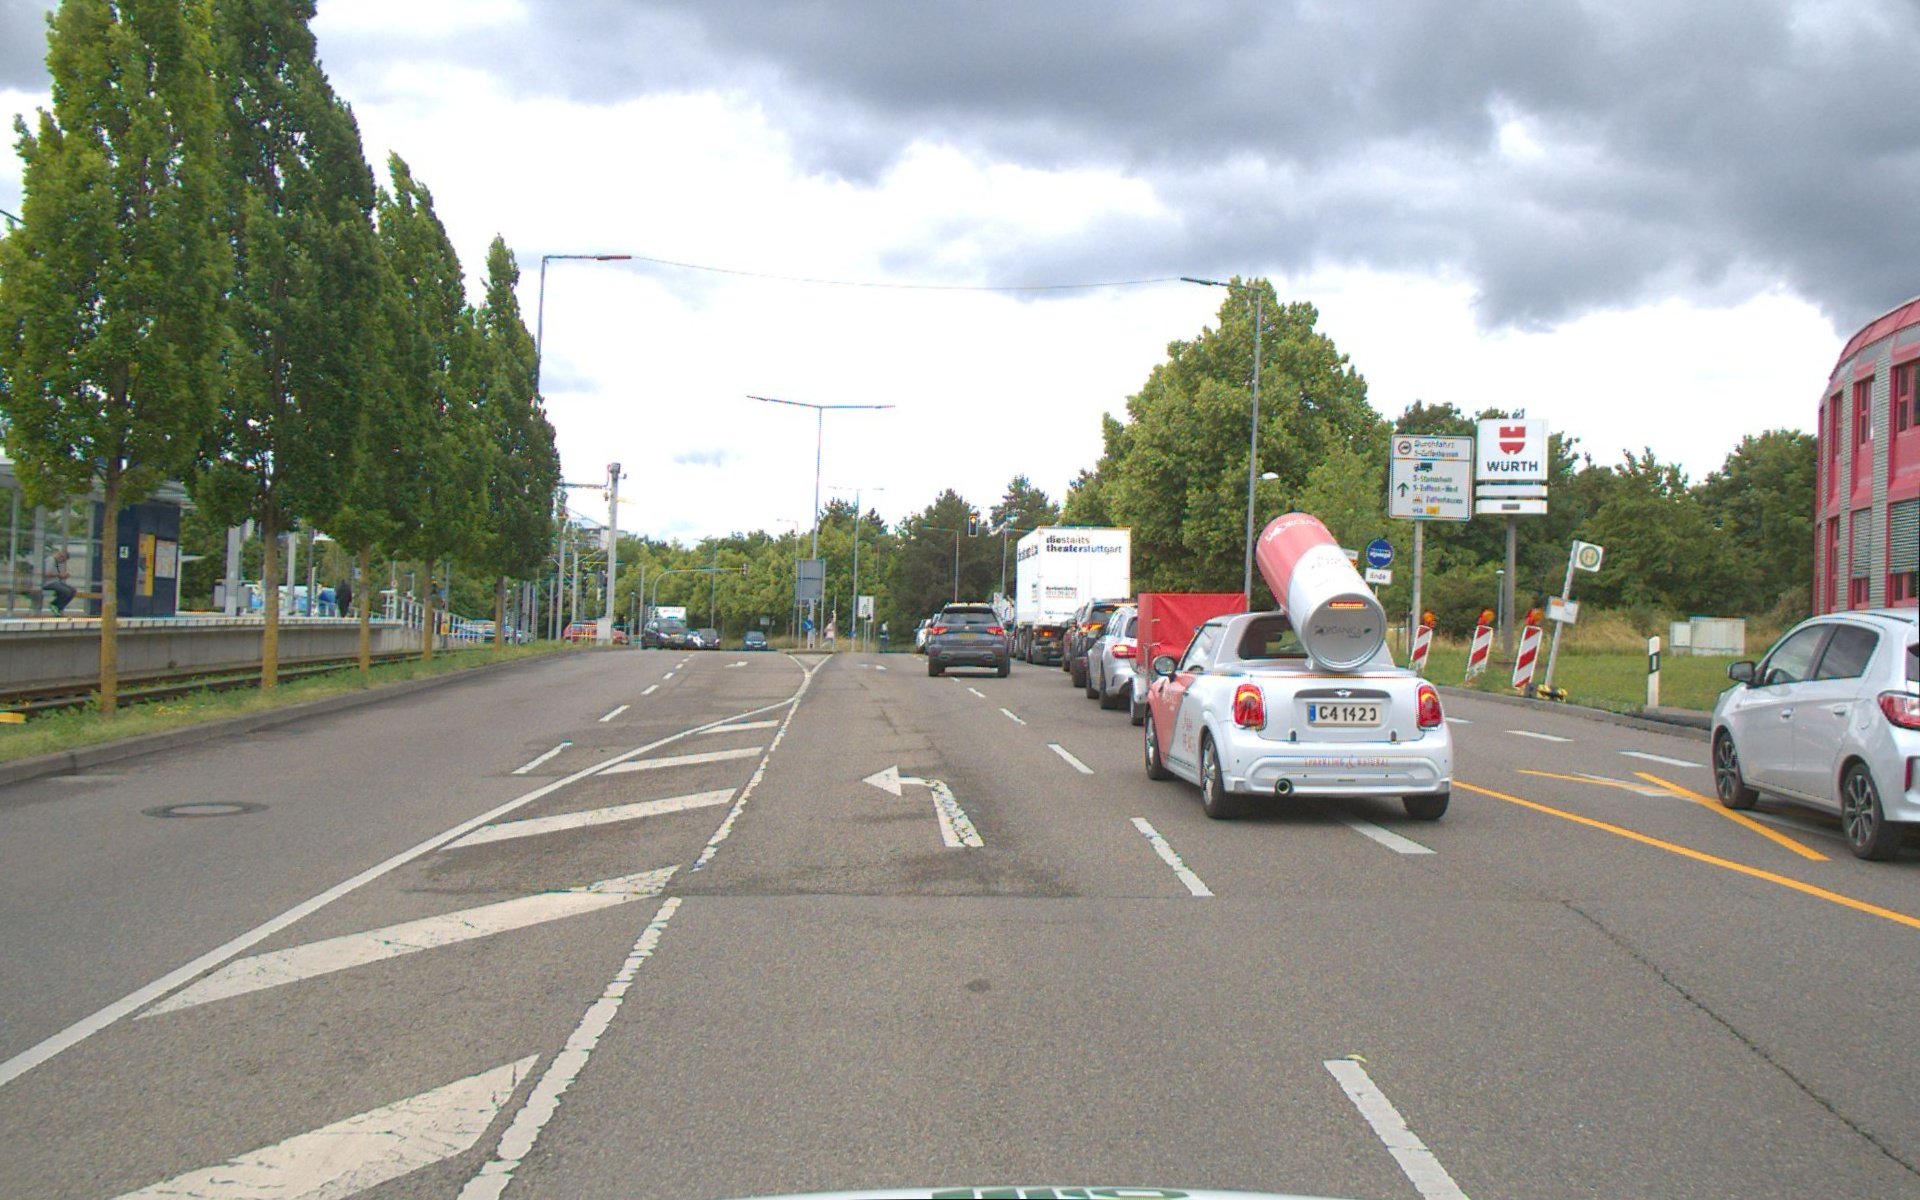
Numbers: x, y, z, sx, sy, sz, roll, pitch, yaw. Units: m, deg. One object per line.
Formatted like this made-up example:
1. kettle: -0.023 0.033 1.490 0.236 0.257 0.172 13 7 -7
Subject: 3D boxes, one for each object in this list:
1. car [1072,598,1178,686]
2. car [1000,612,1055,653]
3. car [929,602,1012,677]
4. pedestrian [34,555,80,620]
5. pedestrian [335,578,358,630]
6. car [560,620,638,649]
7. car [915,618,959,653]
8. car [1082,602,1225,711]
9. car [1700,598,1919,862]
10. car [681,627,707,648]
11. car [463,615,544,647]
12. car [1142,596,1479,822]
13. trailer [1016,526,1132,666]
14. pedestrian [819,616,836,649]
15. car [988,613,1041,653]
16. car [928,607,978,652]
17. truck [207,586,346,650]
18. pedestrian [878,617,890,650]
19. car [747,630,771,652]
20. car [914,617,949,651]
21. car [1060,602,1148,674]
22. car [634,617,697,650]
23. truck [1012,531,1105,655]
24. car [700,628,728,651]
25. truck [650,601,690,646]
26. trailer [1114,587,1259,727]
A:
1. car: 3.121 0.765 31.983 1.806 1.588 4.406 0 0 3
2. car: 2.411 1.148 59.814 1.775 1.378 4.117 0 0 -1
3. car: 0.172 0.808 35.988 1.664 1.512 3.999 0 0 -2
4. pedestrian: -18.199 -0.261 33.347 0.598 1.291 0.659 0 1 -8
5. pedestrian: -22.572 0.156 60.859 0.561 1.860 0.792 1 -2 -7
6. car: -19.794 1.878 90.684 3.994 1.514 1.706 1 -1 27
7. car: -1.008 1.517 70.378 1.687 1.447 4.353 1 -2 -3
8. car: 2.813 0.791 24.862 1.637 1.473 4.489 1 0 0
9. car: 6.347 0.759 11.039 1.588 1.483 3.691 1 0 8
10. car: -21.287 2.980 132.426 1.740 1.534 3.743 0 1 -5
11. car: -25.519 1.724 92.494 3.902 1.623 2.002 1 1 6
12. car: 2.537 0.739 12.827 1.684 1.483 3.694 1 0 -2
13. trailer: 3.210 -0.170 48.436 2.514 3.770 7.761 1 1 -2
14. pedestrian: -6.481 1.601 80.949 0.847 1.587 0.517 0 1 -5
15. car: 2.107 1.258 65.128 1.788 1.460 4.211 0 0 -2
16. car: -0.307 1.081 61.291 1.763 1.550 4.186 1 0 -1
17. truck: -40.577 1.036 98.294 7.090 3.661 2.692 1 1 0
18. pedestrian: -3.846 1.688 83.179 0.575 1.650 0.423 0 1 -5
19. car: -16.260 3.288 133.721 1.880 1.604 3.992 0 0 -9
20. car: -1.328 1.583 75.721 1.504 1.531 2.668 1 -2 -3
21. car: 3.288 0.857 38.491 1.672 1.551 4.319 1 -1 0
22. car: -14.832 1.664 83.164 1.711 1.601 3.661 2 -2 -35
23. truck: 3.064 -0.240 52.418 2.519 3.770 4.104 1 1 -2
24. car: -20.792 3.369 139.661 1.884 1.758 3.982 2 -4 -15
25. truck: -24.797 1.936 141.181 2.616 3.713 9.465 0 0 -15
26. trailer: 2.799 0.672 20.968 1.380 1.622 3.303 1 0 0
